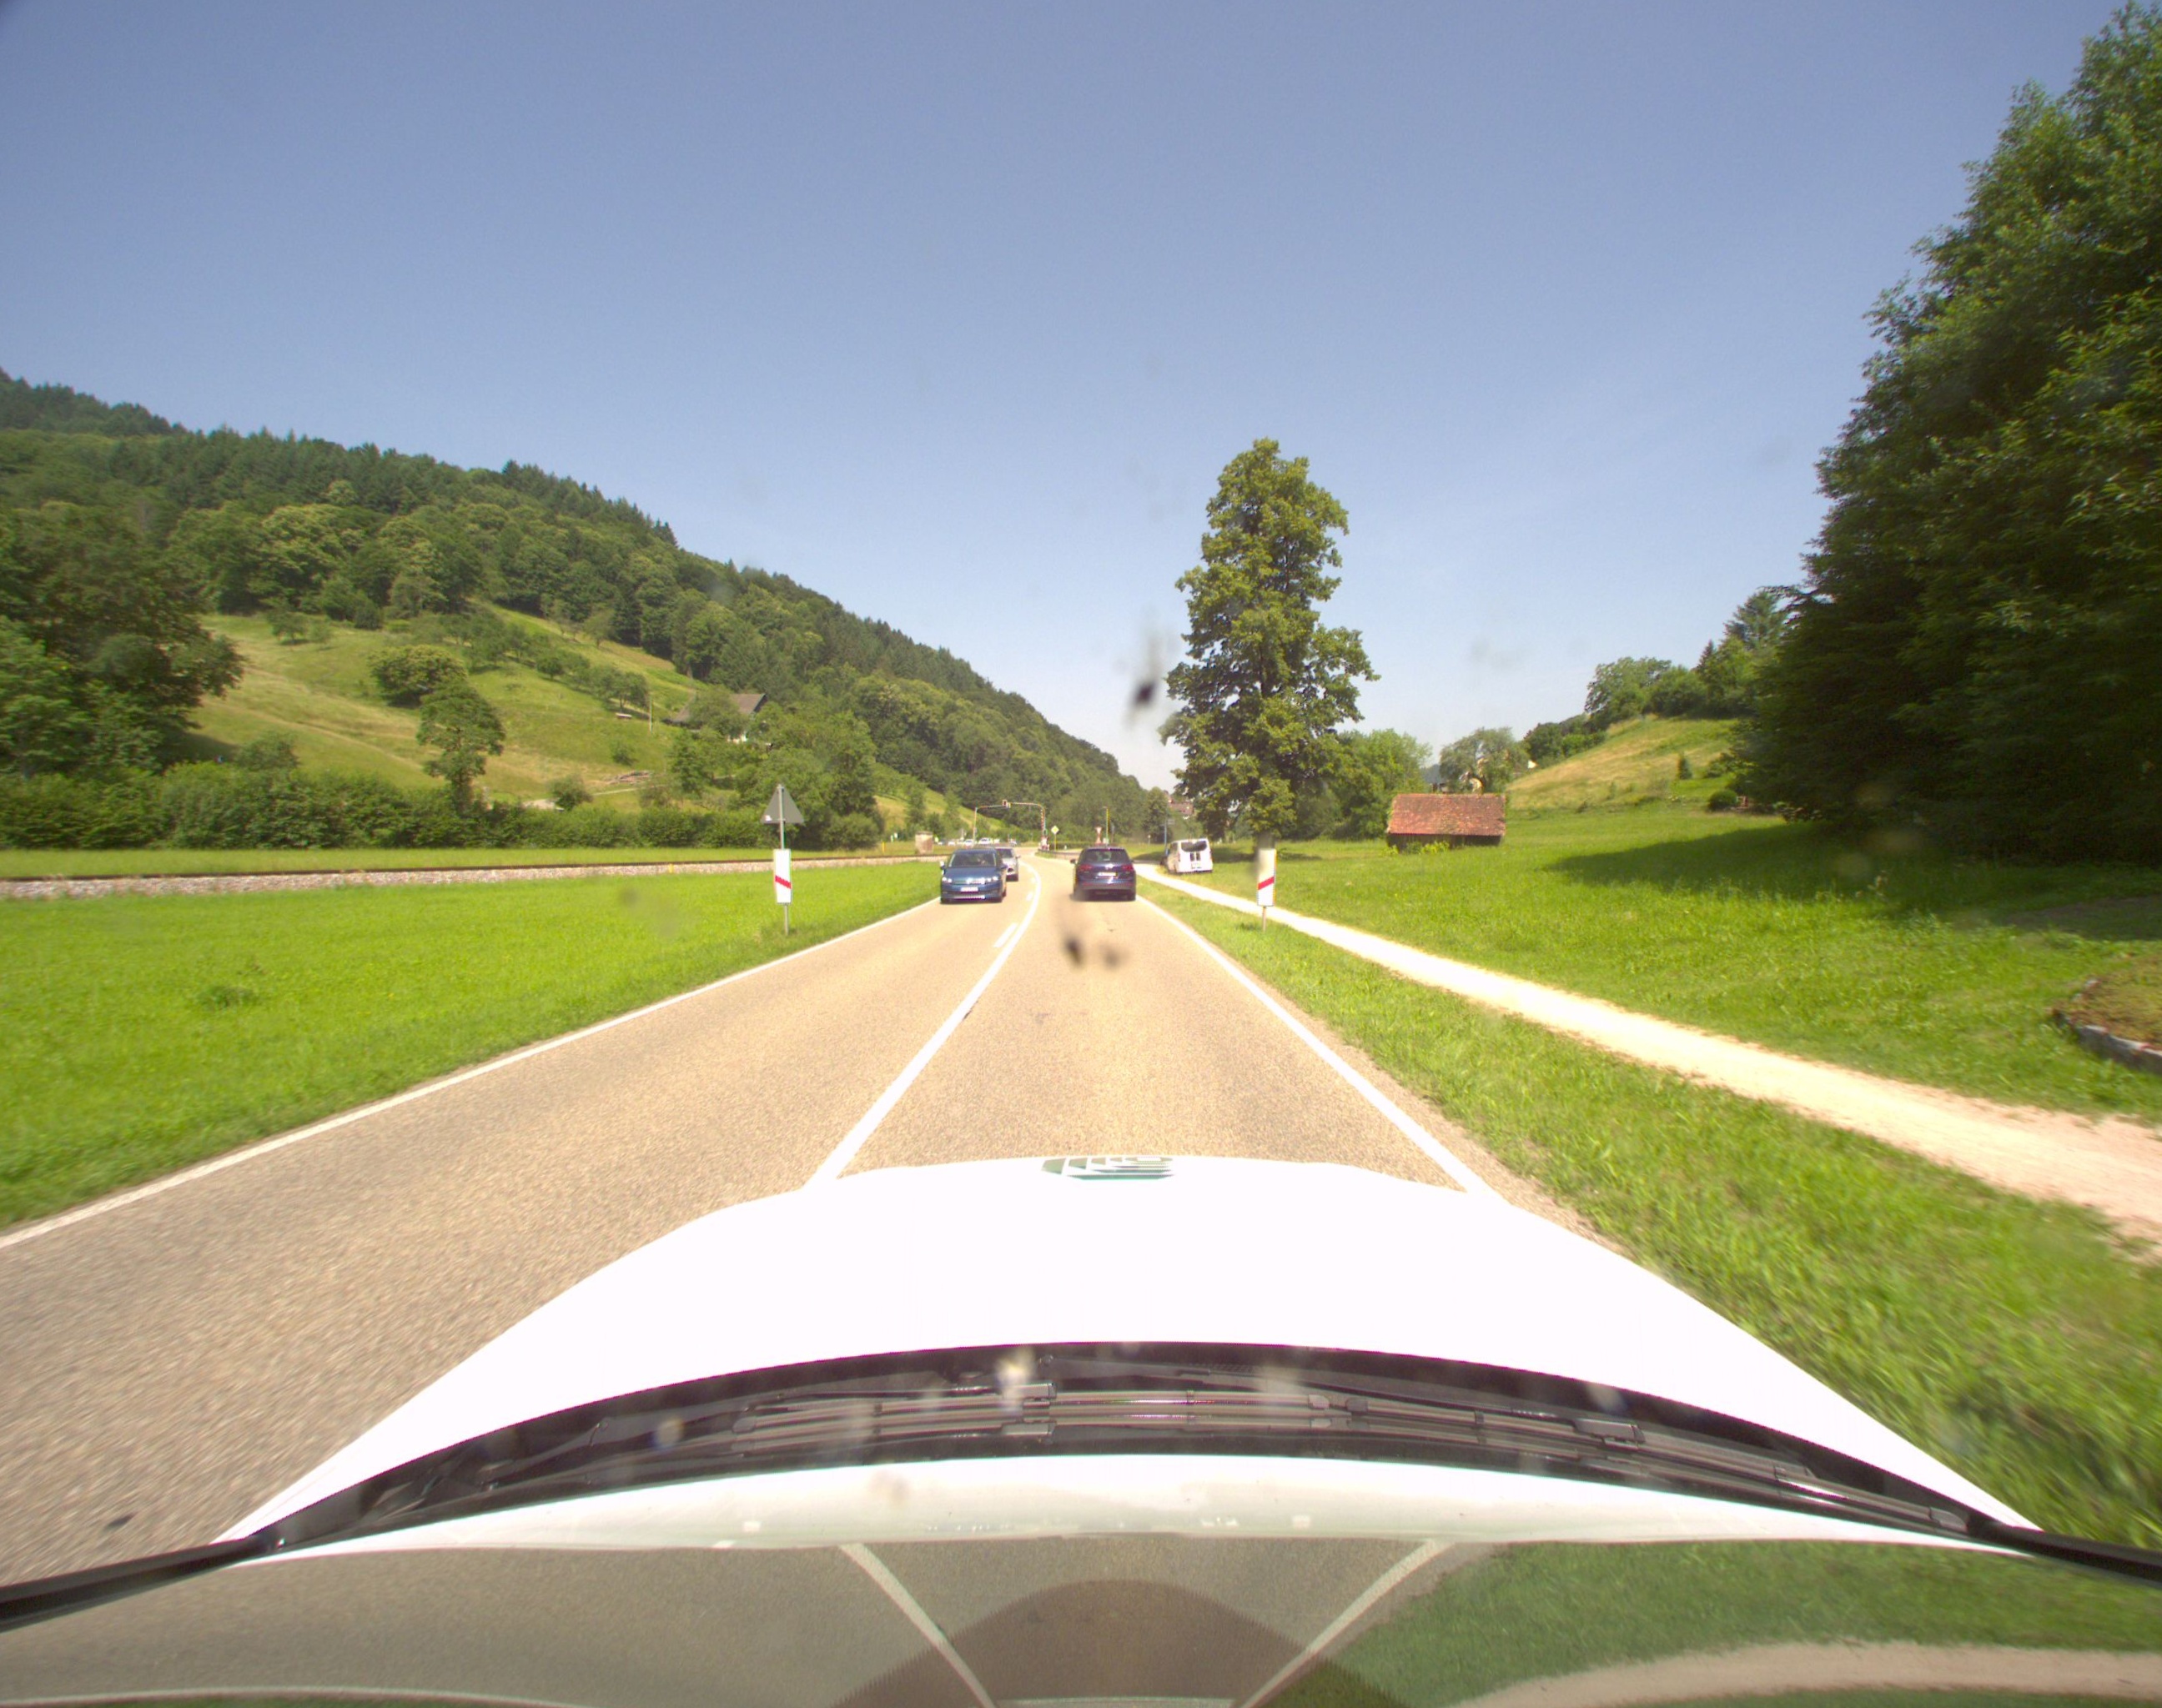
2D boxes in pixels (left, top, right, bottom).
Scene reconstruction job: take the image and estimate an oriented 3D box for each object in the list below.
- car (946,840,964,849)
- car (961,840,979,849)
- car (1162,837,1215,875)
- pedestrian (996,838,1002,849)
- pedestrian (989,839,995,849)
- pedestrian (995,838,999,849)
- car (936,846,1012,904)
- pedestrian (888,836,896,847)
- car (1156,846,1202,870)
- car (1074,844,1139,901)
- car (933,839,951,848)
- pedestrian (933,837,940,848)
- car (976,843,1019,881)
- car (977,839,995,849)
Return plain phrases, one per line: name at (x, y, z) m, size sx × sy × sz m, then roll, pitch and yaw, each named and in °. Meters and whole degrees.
car at (-22.977, -1.727, 148.682) m, size 1.983 × 1.500 × 4.529 m, roll 0°, pitch 1°, yaw 6°
car at (-20.278, -1.748, 148.818) m, size 1.982 × 1.641 × 4.913 m, roll 0°, pitch 1°, yaw 8°
car at (5.892, 0.087, 45.209) m, size 1.994 × 1.848 × 4.865 m, roll -5°, pitch 1°, yaw -2°
pedestrian at (-14.322, -1.794, 142.077) m, size 0.641 × 1.858 × 0.776 m, roll 0°, pitch 1°, yaw 41°
pedestrian at (-15.413, -1.748, 141.216) m, size 0.781 × 1.842 × 0.702 m, roll 0°, pitch 1°, yaw 19°
pedestrian at (-14.599, -1.824, 141.393) m, size 0.658 × 1.954 × 0.532 m, roll -1°, pitch 1°, yaw -2°
car at (-3.230, 0.565, 25.403) m, size 1.860 × 1.623 × 4.508 m, roll 0°, pitch 1°, yaw -2°
pedestrian at (-33.504, -2.167, 144.559) m, size 1.116 × 1.969 × 0.867 m, roll 0°, pitch 0°, yaw 23°
car at (6.468, 0.292, 53.921) m, size 1.677 × 1.457 × 3.695 m, roll -2°, pitch 0°, yaw -16°
car at (0.707, 0.511, 25.453) m, size 1.847 × 1.649 × 4.138 m, roll 0°, pitch 1°, yaw -1°
car at (-25.435, -1.975, 149.180) m, size 1.984 × 1.500 × 4.529 m, roll 2°, pitch 1°, yaw 6°
pedestrian at (-25.356, -1.999, 142.732) m, size 0.951 × 1.794 × 1.000 m, roll -1°, pitch 1°, yaw -1°
car at (-3.966, 0.340, 38.965) m, size 1.912 × 1.714 × 4.152 m, roll 0°, pitch 1°, yaw -5°
car at (-17.394, -1.804, 149.099) m, size 1.859 × 1.782 × 4.787 m, roll 1°, pitch 1°, yaw 11°
